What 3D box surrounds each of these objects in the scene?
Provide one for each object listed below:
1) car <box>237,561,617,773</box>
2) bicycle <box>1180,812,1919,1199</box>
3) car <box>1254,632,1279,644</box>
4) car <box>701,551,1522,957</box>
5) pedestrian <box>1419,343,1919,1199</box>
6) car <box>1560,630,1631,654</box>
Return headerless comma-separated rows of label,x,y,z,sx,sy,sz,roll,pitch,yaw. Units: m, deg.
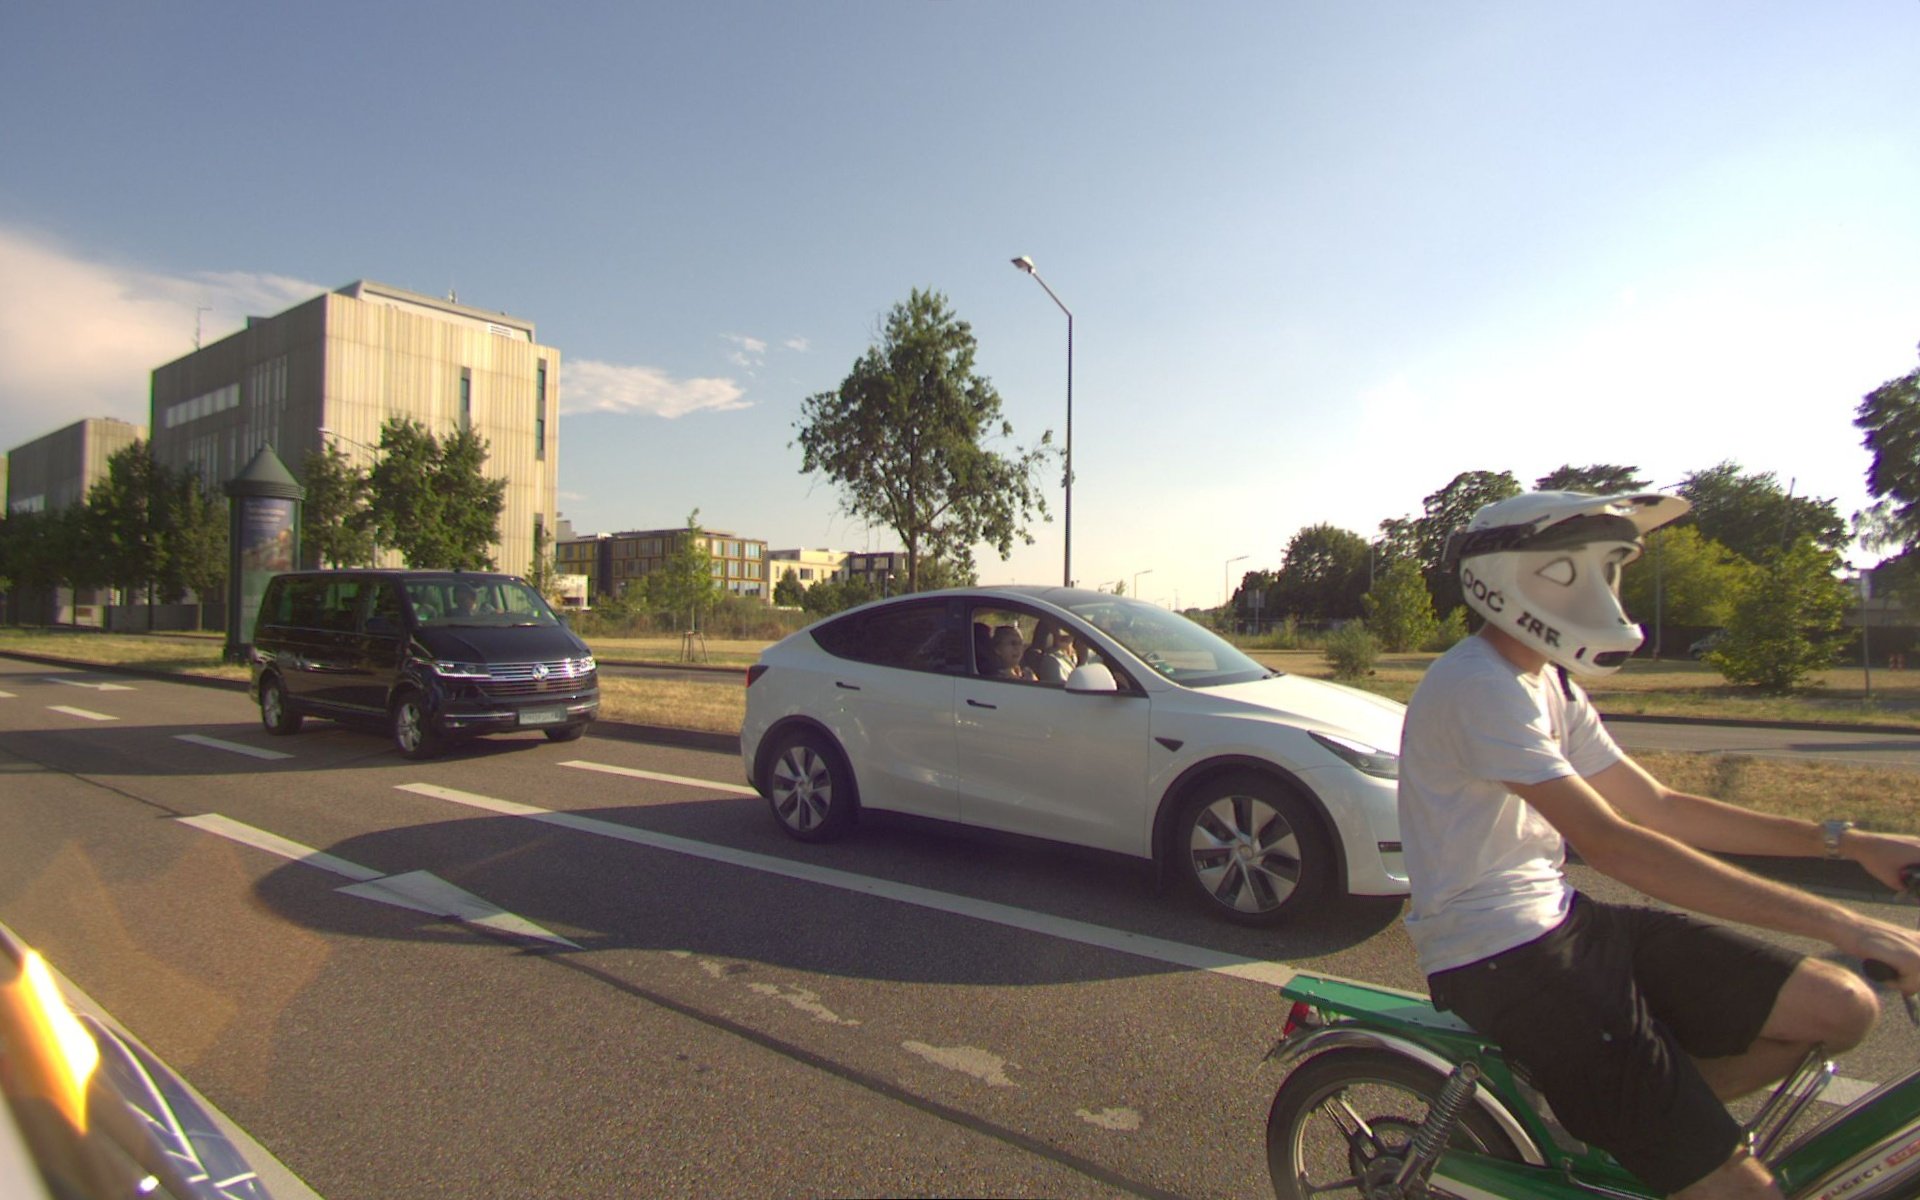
car,-6.215,0.632,11.530,5.003,1.947,1.839,-1,-1,36
bicycle,1.304,0.934,1.651,1.855,0.882,0.472,-1,-3,41
car,32.087,3.983,106.032,1.315,1.302,2.810,1,-2,-10
car,0.626,0.649,6.127,4.669,1.611,1.719,-1,-1,37
pedestrian,1.309,0.444,1.659,0.854,1.530,0.649,-1,-3,41
car,42.511,2.767,67.796,1.631,1.537,4.407,0,-2,-6
